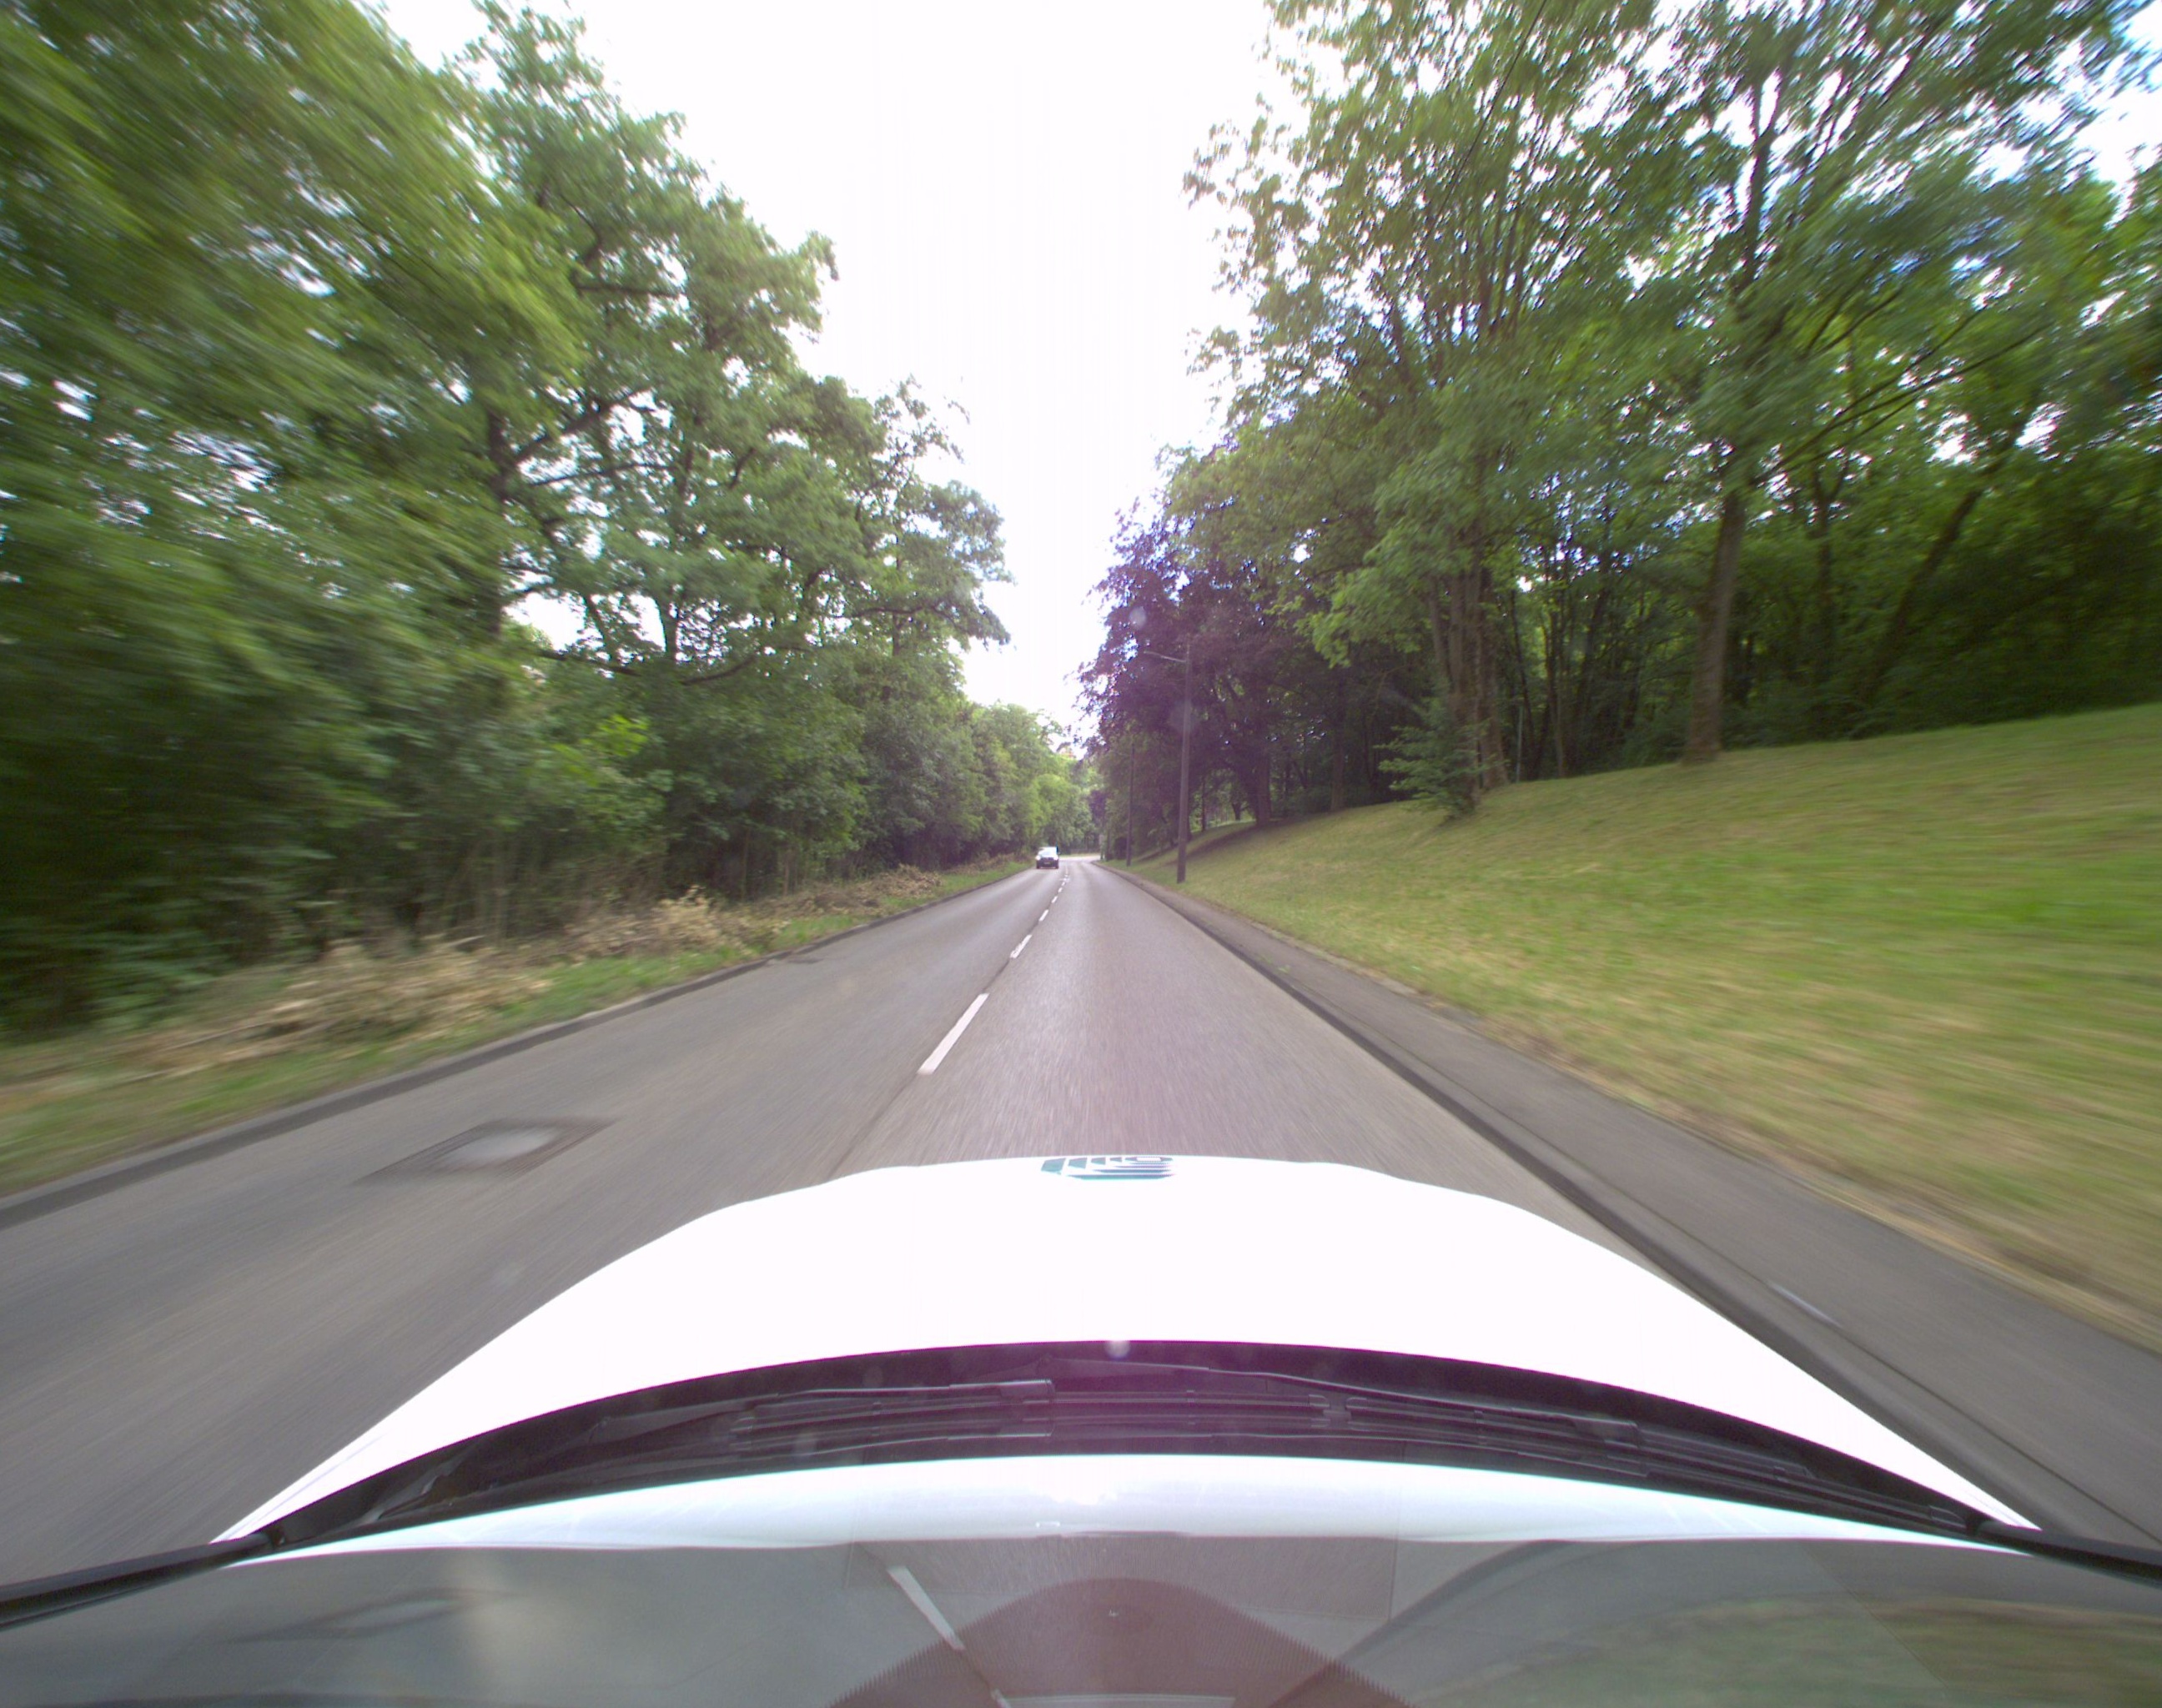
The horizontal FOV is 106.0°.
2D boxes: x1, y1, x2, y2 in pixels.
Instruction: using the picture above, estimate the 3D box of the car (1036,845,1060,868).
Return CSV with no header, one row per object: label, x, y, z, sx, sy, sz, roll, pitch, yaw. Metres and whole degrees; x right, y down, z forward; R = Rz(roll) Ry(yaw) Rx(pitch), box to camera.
car,-2.864,0.237,71.038,1.988,1.948,4.942,1,0,-1
